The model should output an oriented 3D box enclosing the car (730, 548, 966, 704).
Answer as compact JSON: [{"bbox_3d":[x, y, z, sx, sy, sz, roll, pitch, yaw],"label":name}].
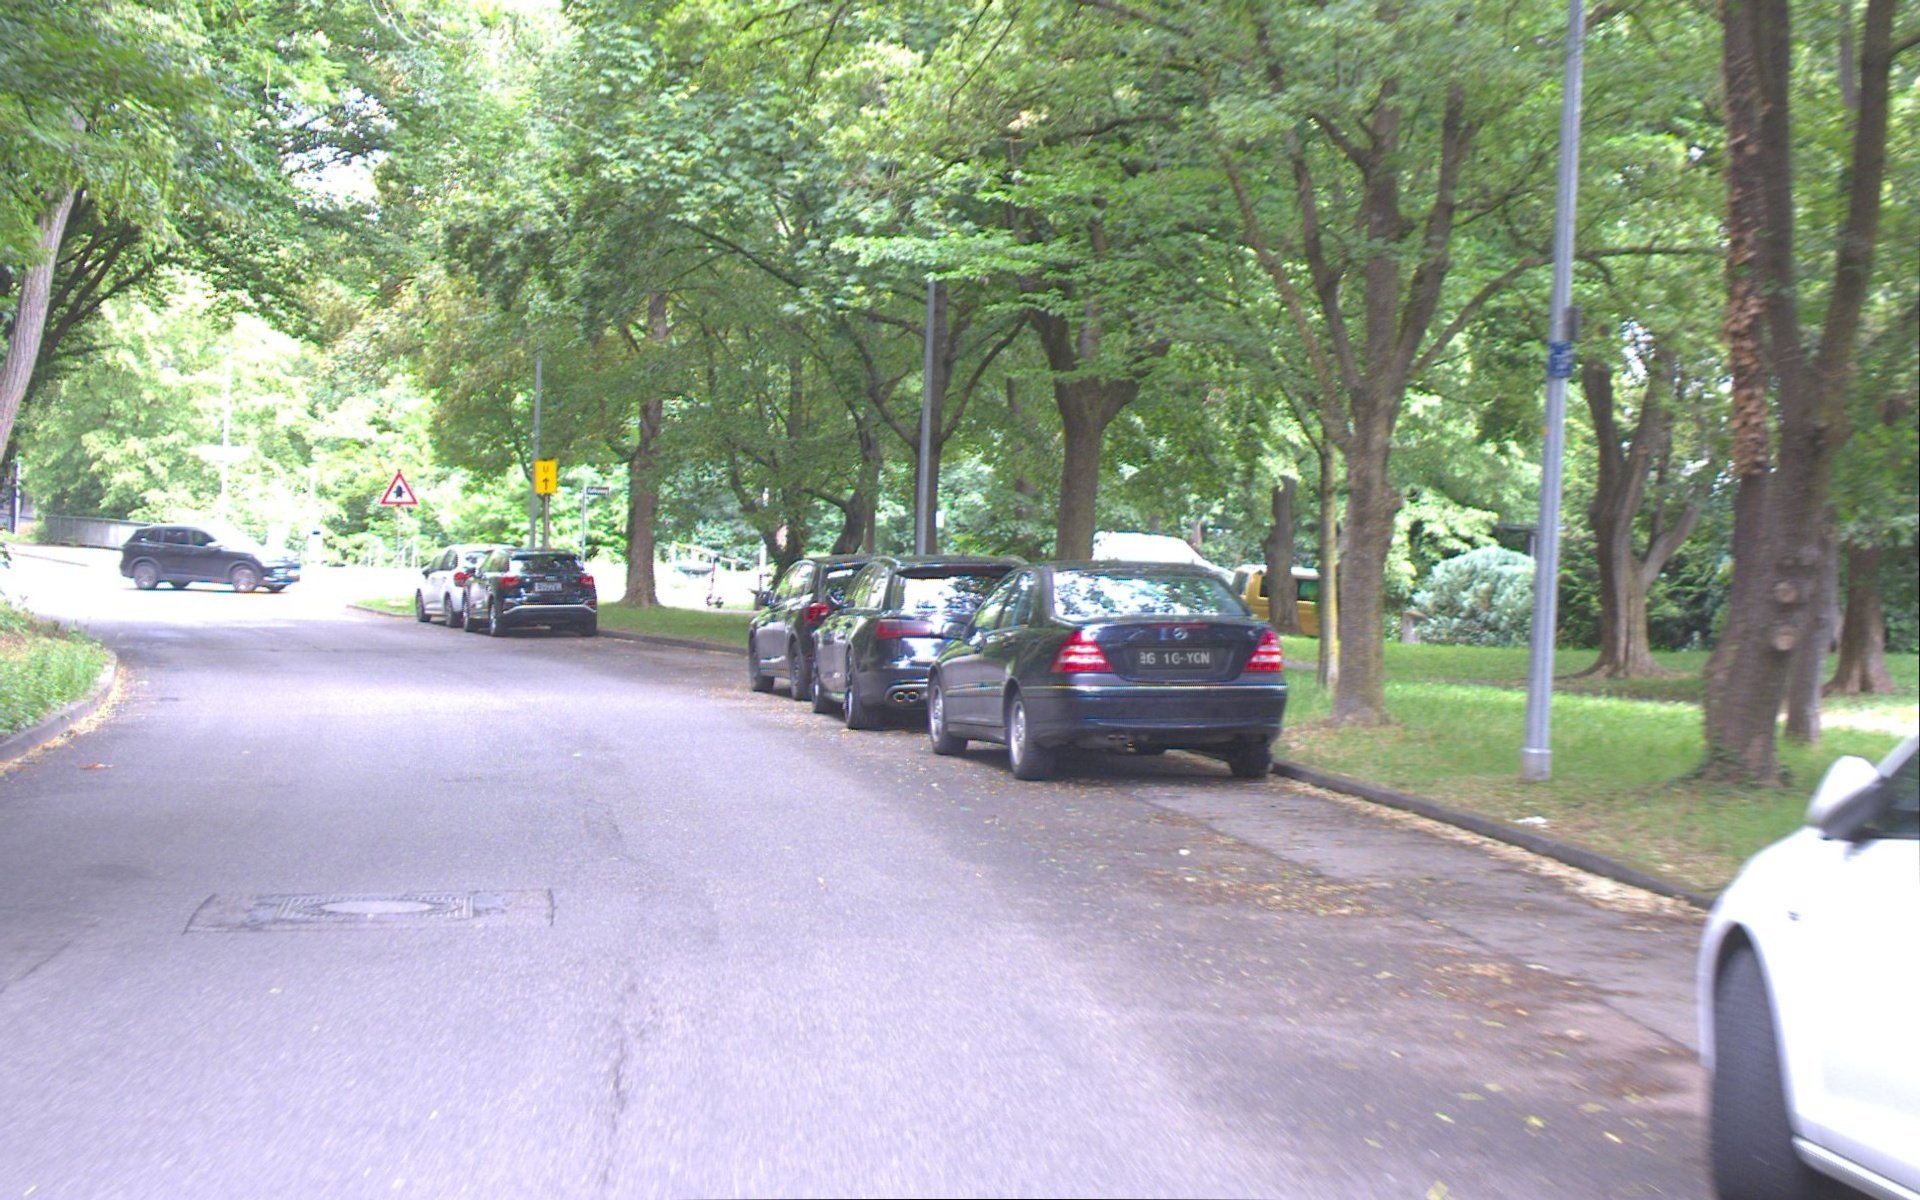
[{"bbox_3d":[-1.209,0.232,35.268,1.681,1.459,3.899,1,1,-13],"label":"car"}]

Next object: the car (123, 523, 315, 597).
[{"bbox_3d":[-18.166,-0.987,84.323,4.225,1.680,1.798,2,1,16],"label":"car"}]

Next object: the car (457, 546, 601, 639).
[{"bbox_3d":[-7.545,-0.156,59.896,1.773,1.517,4.184,1,1,-17],"label":"car"}]

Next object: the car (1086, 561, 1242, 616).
[{"bbox_3d":[6.001,-0.339,101.188,4.204,1.493,1.800,1,1,-14],"label":"car"}]

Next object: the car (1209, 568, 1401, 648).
[{"bbox_3d":[8.617,0.190,86.118,4.395,1.842,1.833,2,1,-10],"label":"car"}]

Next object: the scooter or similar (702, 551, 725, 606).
[{"bbox_3d":[-5.891,-0.509,82.192,0.282,1.282,1.108,1,1,-17],"label":"scooter or similar"}]

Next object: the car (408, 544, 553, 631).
[{"bbox_3d":[-8.969,-0.255,64.080,1.773,1.517,3.782,1,1,-22],"label":"car"}]

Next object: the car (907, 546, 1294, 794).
[{"bbox_3d":[0.844,0.408,23.339,1.588,1.460,4.318,1,1,-12],"label":"car"}]

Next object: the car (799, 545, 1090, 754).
[{"bbox_3d":[-0.227,0.361,29.593,1.913,1.606,4.735,1,1,-7],"label":"car"}]

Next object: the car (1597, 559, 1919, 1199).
[{"bbox_3d":[2.585,0.696,6.386,1.688,1.477,4.107,1,1,-5],"label":"car"}]

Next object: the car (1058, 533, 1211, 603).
[{"bbox_3d":[5.269,-0.973,104.096,4.204,2.007,2.001,1,1,-14],"label":"car"}]
